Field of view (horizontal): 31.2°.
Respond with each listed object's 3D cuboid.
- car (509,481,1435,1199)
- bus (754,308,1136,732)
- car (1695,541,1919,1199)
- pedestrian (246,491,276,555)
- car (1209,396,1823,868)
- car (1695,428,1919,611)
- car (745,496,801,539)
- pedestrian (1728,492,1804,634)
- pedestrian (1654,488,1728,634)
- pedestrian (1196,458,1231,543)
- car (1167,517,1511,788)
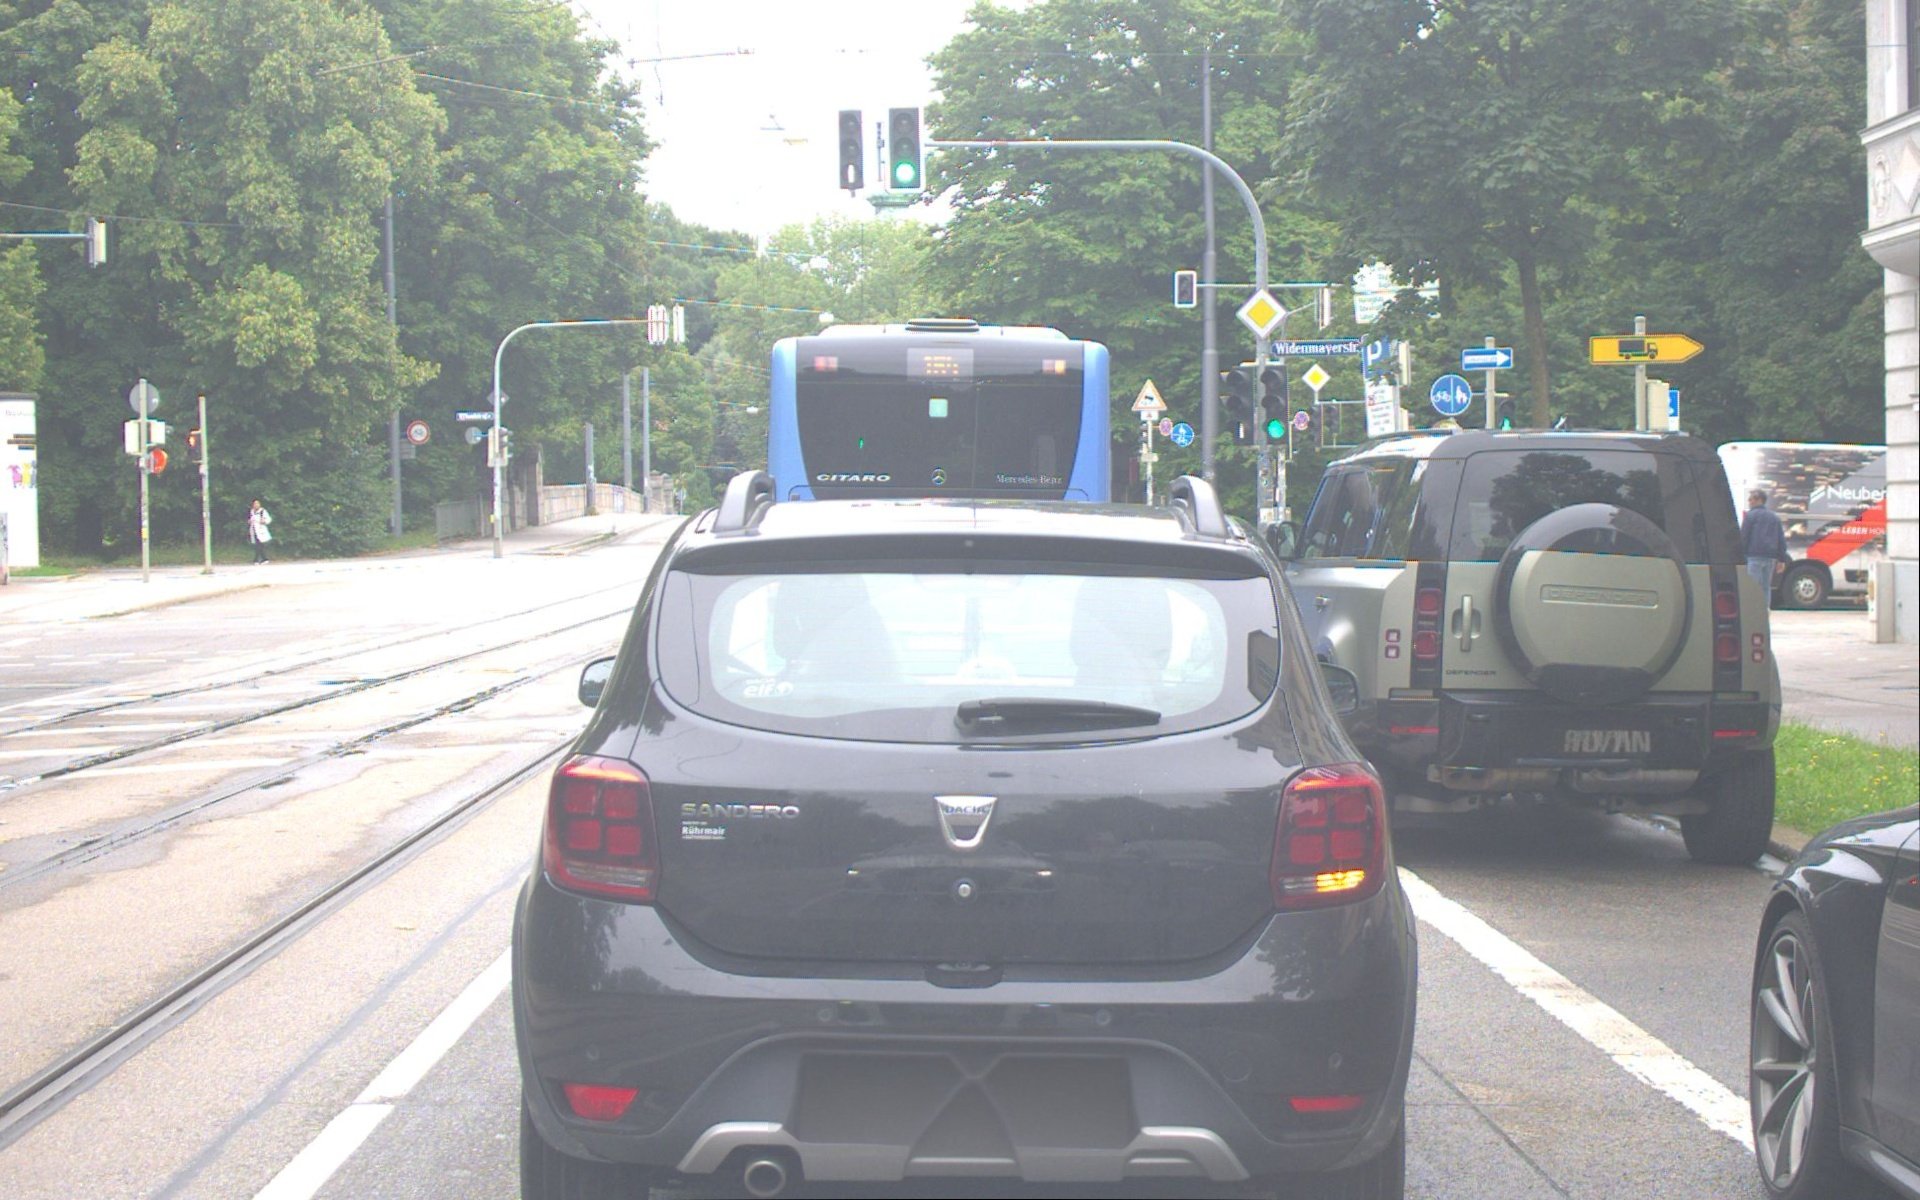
[{"bbox_3d":[-0.016,0.550,7.800,1.600,1.551,3.525,1,1,-1],"label":"car"},{"bbox_3d":[-0.254,-0.636,28.120,2.678,2.987,6.962,1,1,-2],"label":"bus"},{"bbox_3d":[2.657,0.632,5.841,1.716,1.421,4.603,1,1,-1],"label":"car"},{"bbox_3d":[-16.424,-1.811,80.803,0.532,1.496,0.588,1,1,4],"label":"pedestrian"},{"bbox_3d":[2.455,0.090,16.501,1.914,1.899,4.809,1,1,-3],"label":"car"},{"bbox_3d":[13.912,-1.167,51.322,5.295,2.603,2.231,1,1,-3],"label":"car"},{"bbox_3d":[-6.284,-2.765,115.744,1.787,1.365,3.400,1,1,-2],"label":"car"},{"bbox_3d":[10.022,-0.464,42.771,0.705,1.726,0.843,1,1,-1],"label":"pedestrian"},{"bbox_3d":[9.203,-0.498,43.307,0.705,1.810,0.870,1,1,-1],"label":"pedestrian"},{"bbox_3d":[6.321,-2.478,85.763,0.762,2.109,0.853,-1,2,0],"label":"pedestrian"},{"bbox_3d":[2.389,0.274,22.664,1.714,1.586,4.327,1,1,-1],"label":"car"}]
